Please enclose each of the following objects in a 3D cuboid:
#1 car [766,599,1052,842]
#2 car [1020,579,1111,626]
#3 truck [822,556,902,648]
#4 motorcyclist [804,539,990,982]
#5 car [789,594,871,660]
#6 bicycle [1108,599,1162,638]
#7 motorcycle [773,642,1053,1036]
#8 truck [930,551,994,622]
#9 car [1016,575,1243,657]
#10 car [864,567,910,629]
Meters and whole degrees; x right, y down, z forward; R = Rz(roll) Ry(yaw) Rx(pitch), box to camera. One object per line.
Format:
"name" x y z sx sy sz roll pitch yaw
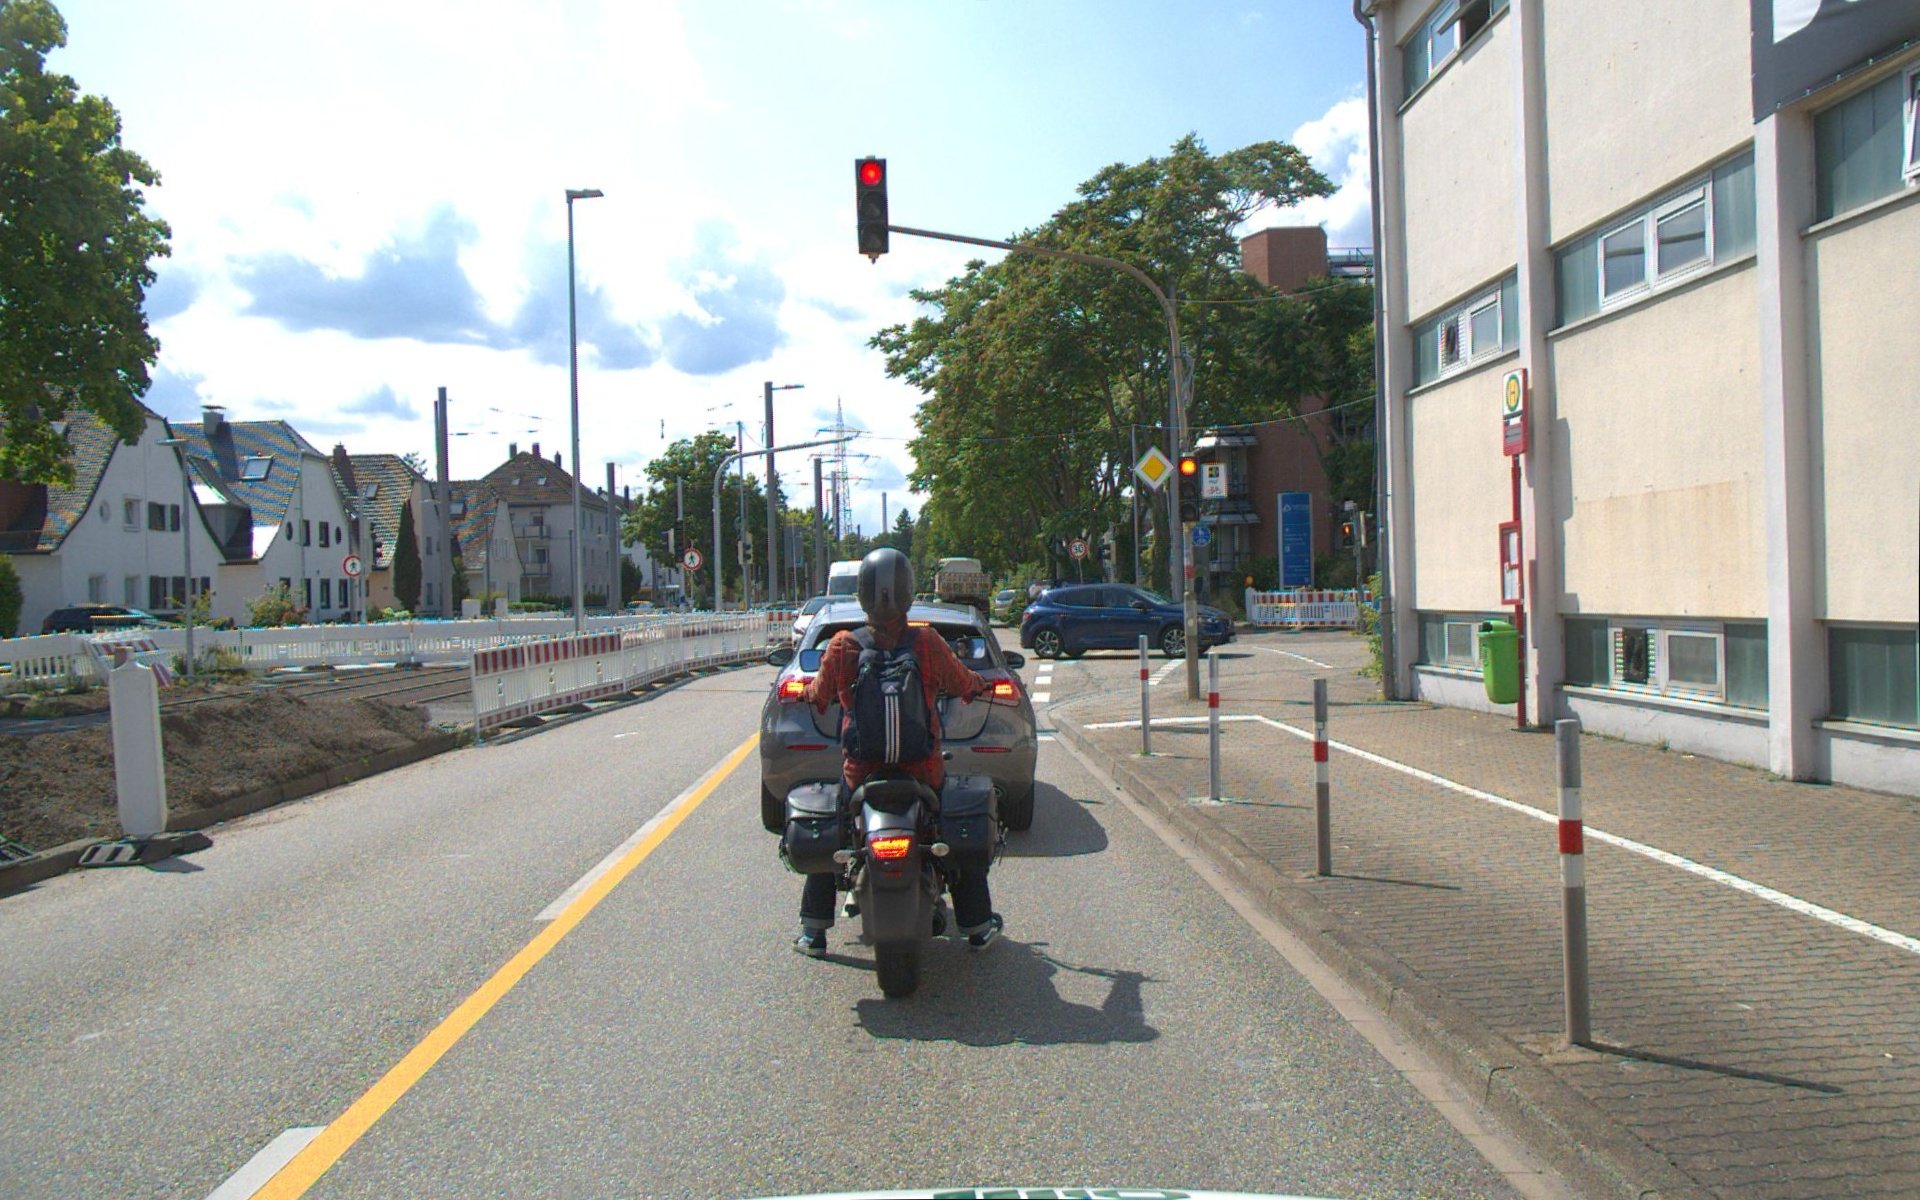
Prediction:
"car" -0.504 0.718 11.891 1.698 1.428 4.081 1 0 -6
"car" 4.544 0.126 70.615 1.772 1.959 3.973 0 -1 43
"truck" -2.902 -0.019 50.105 2.050 2.519 5.196 -3 2 -1
"motorcyclist" -0.240 0.593 6.453 0.684 1.632 0.691 0 -1 -2
"car" -3.118 0.638 40.311 1.709 1.462 4.082 -3 0 -2
"bicycle" 5.453 0.583 51.646 1.672 1.192 0.438 0 -1 4
"motorcycle" -0.185 0.823 6.710 0.923 1.221 2.472 0 0 -1
"truck" 0.171 -0.570 78.968 2.906 3.229 7.764 0 0 1
"car" 3.349 0.319 32.666 4.167 1.524 1.650 -1 1 22
"car" -2.626 -0.058 60.005 1.557 2.180 3.626 0 0 -1
